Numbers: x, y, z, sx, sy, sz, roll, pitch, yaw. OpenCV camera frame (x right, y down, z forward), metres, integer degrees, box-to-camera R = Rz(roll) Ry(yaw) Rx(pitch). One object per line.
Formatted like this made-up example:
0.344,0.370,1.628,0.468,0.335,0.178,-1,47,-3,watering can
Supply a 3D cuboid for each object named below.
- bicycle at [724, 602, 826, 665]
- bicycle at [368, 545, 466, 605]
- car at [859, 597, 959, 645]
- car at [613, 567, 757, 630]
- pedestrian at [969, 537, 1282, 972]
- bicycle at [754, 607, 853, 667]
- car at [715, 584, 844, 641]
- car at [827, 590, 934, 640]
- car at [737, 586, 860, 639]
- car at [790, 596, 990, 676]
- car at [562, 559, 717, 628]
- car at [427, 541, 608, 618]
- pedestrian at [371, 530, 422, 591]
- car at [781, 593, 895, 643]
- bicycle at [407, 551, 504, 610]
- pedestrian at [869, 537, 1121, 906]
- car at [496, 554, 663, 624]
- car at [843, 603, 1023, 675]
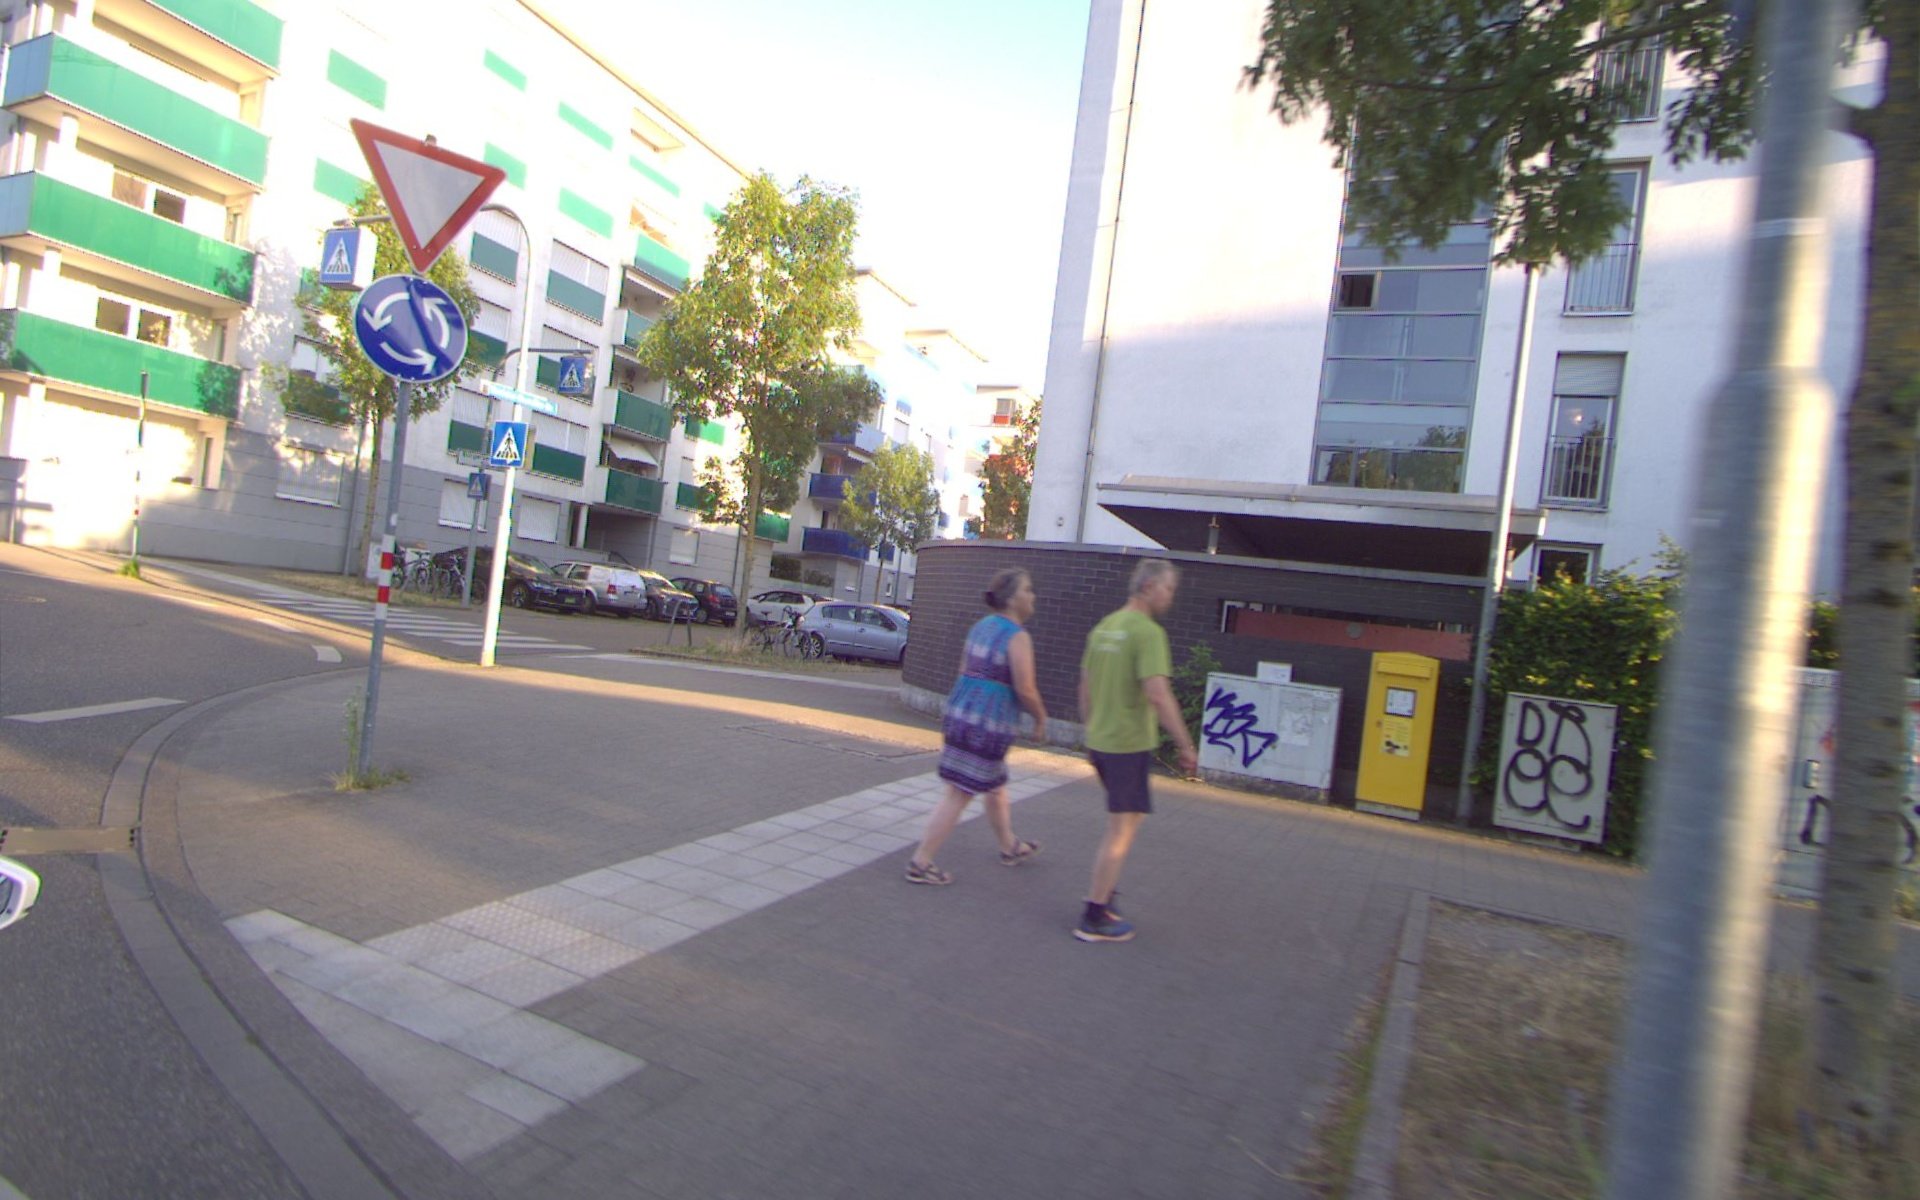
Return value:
-3.796,0.678,20.637,1.907,1.127,0.724,4,-1,23,bicycle
-13.364,-0.618,24.740,2.417,1.165,0.698,7,0,25,bicycle
-2.585,1.057,50.834,4.512,1.761,1.999,7,0,26,car
-9.561,-0.057,34.964,4.512,1.572,1.999,7,0,26,car
0.735,0.628,4.528,1.011,1.715,0.753,4,2,-33,pedestrian
-3.331,0.786,21.400,1.907,1.127,0.724,4,-1,23,bicycle
-7.037,0.489,39.147,4.512,1.572,1.999,7,0,26,car
-3.806,0.735,48.056,4.512,1.761,1.999,7,0,26,car
-6.658,0.505,41.394,4.512,1.572,1.999,7,0,26,car
-1.605,0.829,23.171,4.043,1.470,2.000,4,-2,23,car
-10.343,-0.211,32.455,4.512,1.572,1.999,7,0,26,car
-12.156,-0.568,27.618,4.512,1.470,1.999,7,-1,26,car
-14.037,-0.977,25.071,0.788,1.372,0.659,7,0,25,pedestrian
-5.383,0.782,44.463,4.512,1.572,1.999,7,0,26,car
-12.701,-0.494,25.311,2.477,1.165,0.689,7,0,25,bicycle
0.187,0.582,5.260,0.978,1.716,0.692,3,3,-41,pedestrian
-11.366,-0.327,30.041,4.512,1.470,1.999,7,-1,26,car
-0.668,0.992,25.591,4.043,1.470,2.000,4,-2,23,car
